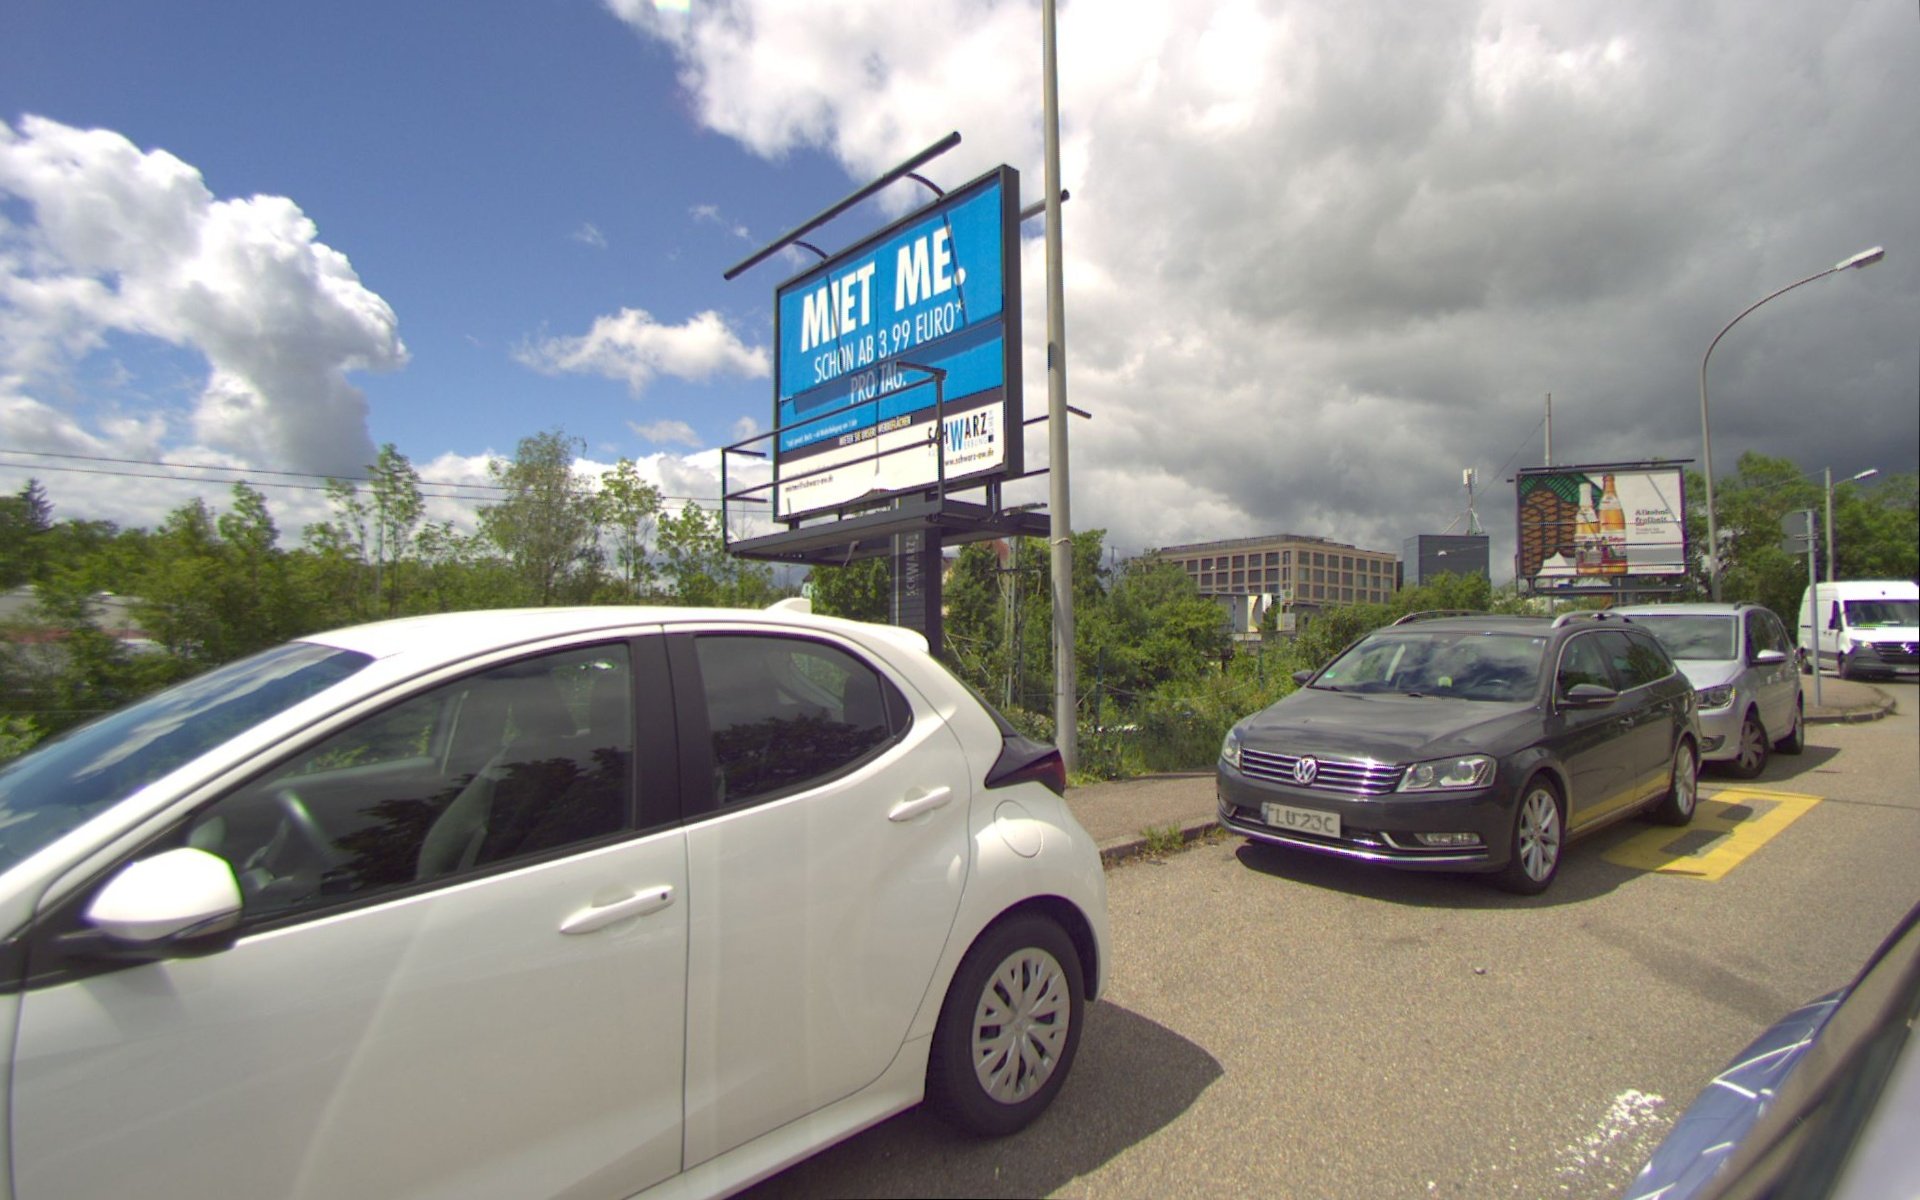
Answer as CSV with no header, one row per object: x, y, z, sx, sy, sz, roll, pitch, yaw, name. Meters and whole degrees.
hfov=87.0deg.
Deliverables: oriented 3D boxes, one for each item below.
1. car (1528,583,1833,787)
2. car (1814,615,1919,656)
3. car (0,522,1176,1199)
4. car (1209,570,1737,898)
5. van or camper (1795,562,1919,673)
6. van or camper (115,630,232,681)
7.600,0.763,10.512,4.234,1.700,1.707,1,-3,-43,car
40.887,1.581,44.881,4.317,1.608,1.999,3,-3,-1,car
-1.298,0.680,2.538,3.891,1.499,1.706,1,-3,-44,car
3.691,0.674,6.840,4.495,1.506,1.707,1,-3,-43,car
23.997,0.550,26.394,2.173,2.600,5.869,2,-2,27,van or camper
-45.516,3.168,58.721,5.201,2.727,1.928,0,-3,-34,van or camper
